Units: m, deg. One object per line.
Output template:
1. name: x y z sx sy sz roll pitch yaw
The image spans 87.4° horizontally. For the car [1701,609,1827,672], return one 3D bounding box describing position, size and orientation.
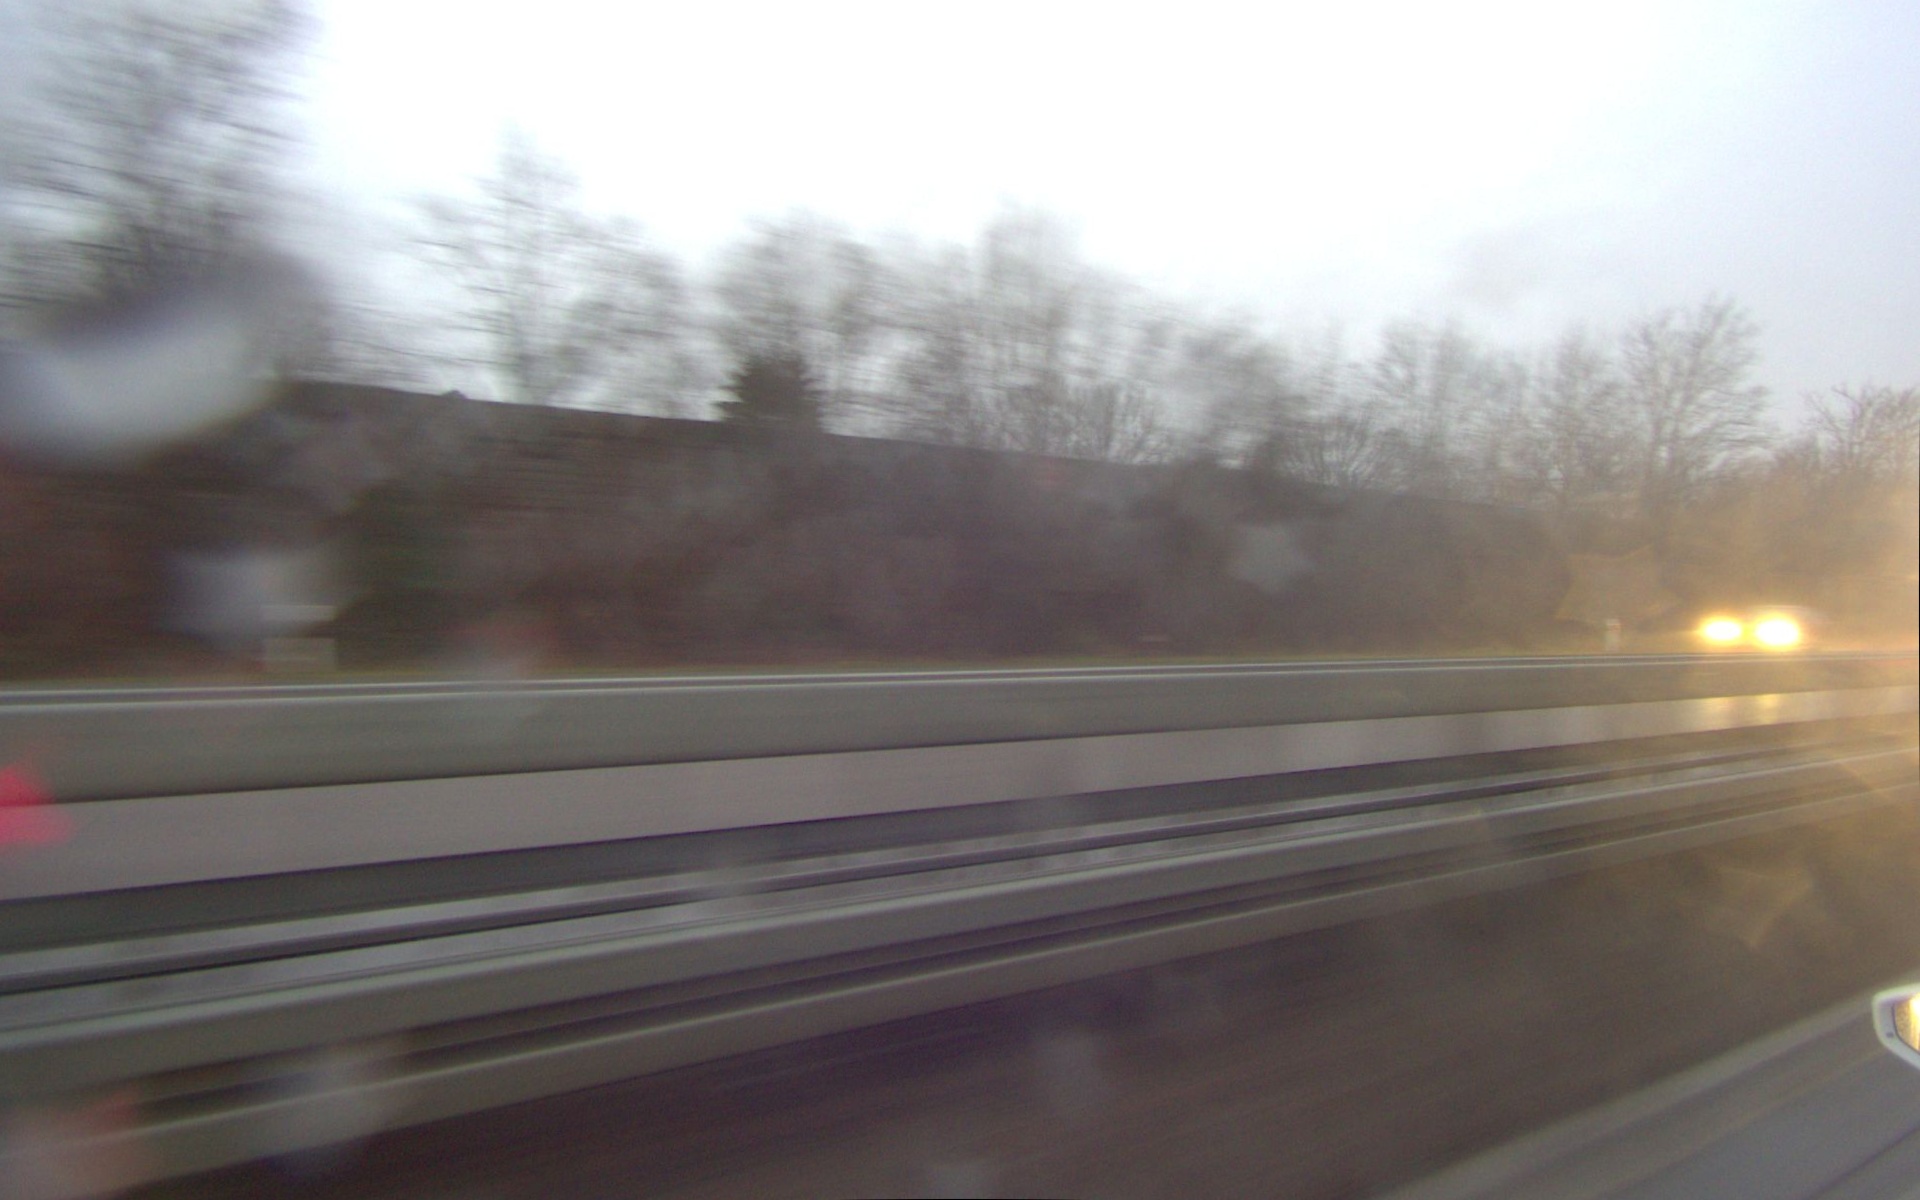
1. car: 26.436 1.310 32.992 4.738 1.857 1.868 2 1 -34
